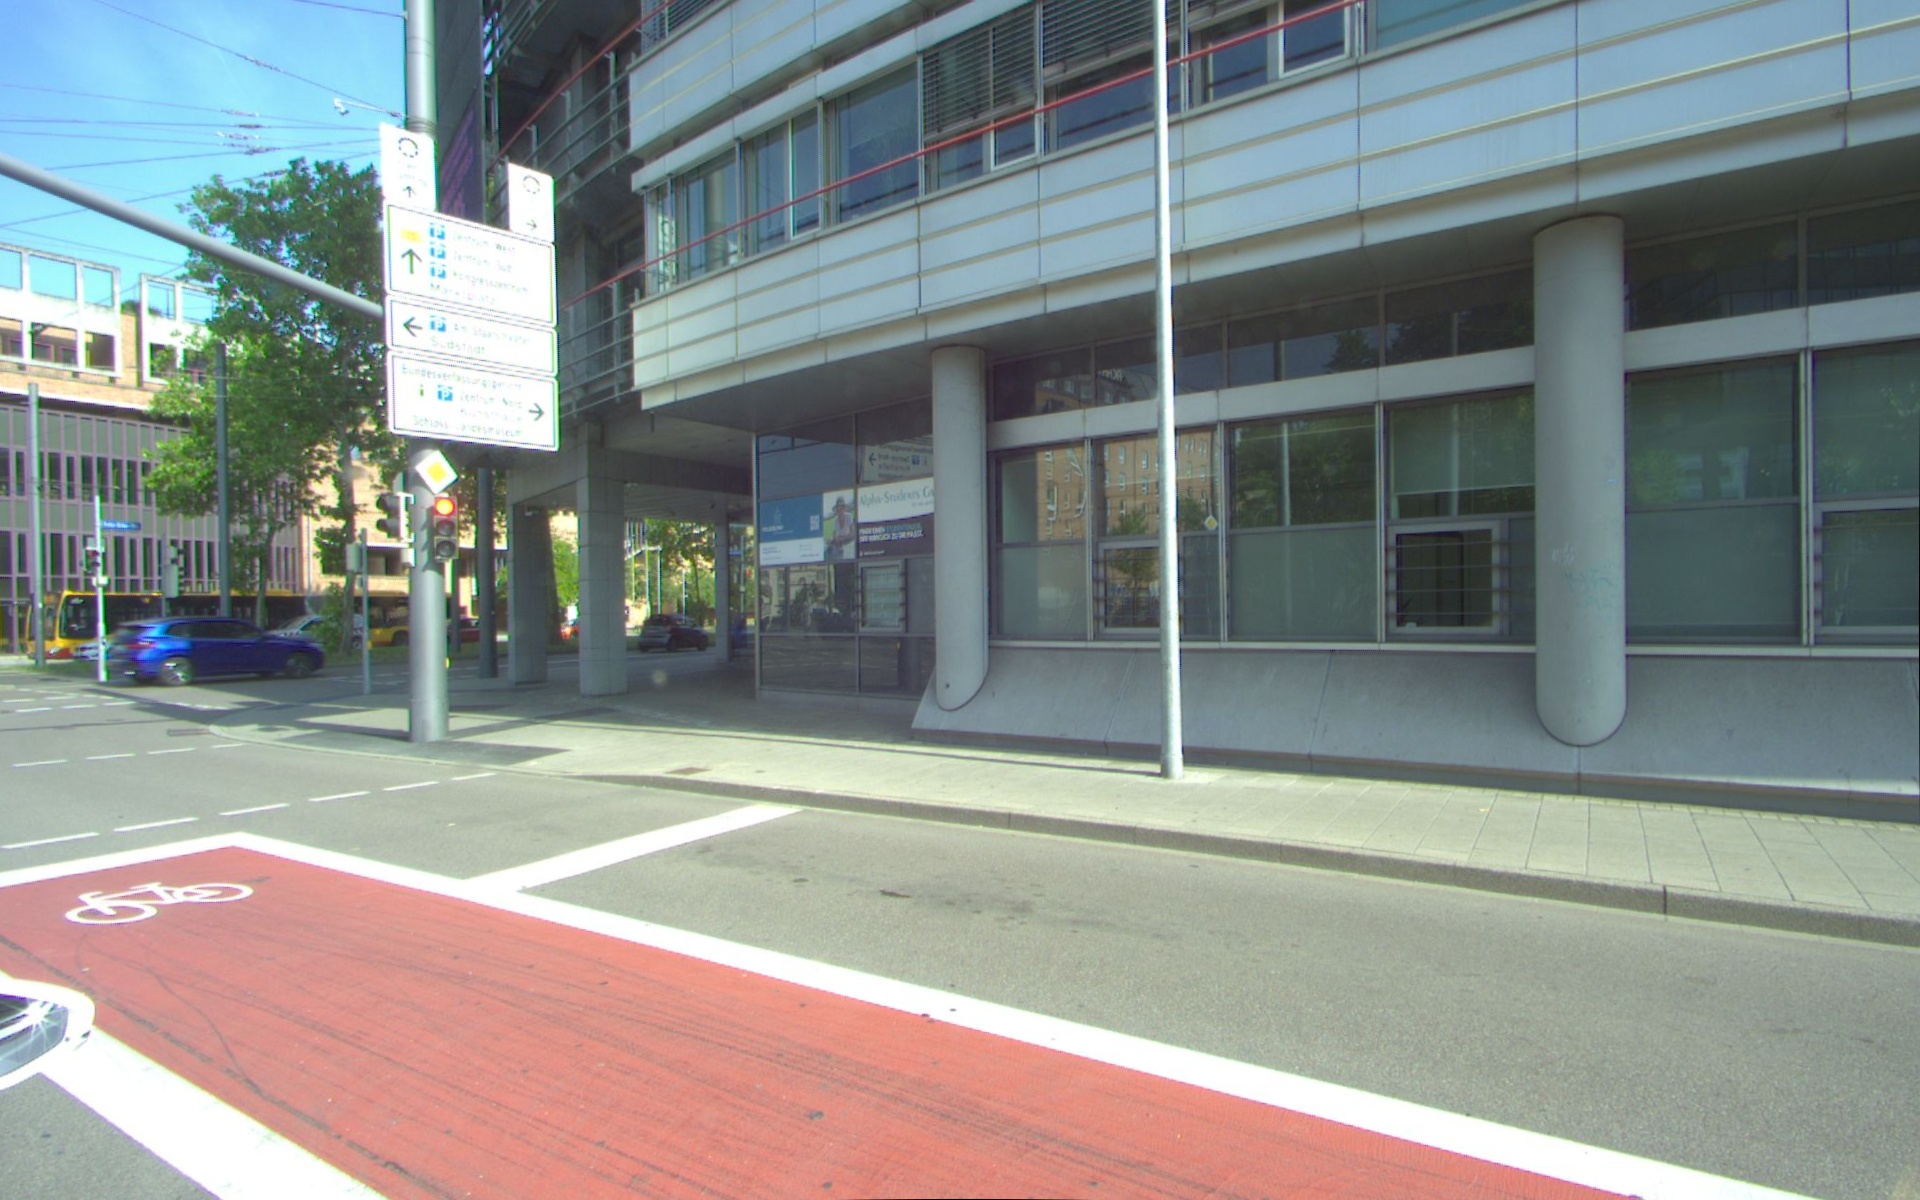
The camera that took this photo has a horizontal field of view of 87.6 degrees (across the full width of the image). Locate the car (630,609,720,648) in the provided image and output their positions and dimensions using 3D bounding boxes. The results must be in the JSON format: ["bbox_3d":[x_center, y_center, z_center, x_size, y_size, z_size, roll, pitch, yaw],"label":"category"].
[{"bbox_3d":[-11.602,1.169,40.997,1.674,1.511,3.594,-2,-1,22],"label":"car"}]

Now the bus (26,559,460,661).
[{"bbox_3d":[-32.254,0.520,47.306,2.818,3.859,17.616,-2,-2,24],"label":"bus"}]

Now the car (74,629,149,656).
[{"bbox_3d":[-32.517,1.616,38.396,1.078,0.970,1.947,-1,-1,32],"label":"car"}]

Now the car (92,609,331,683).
[{"bbox_3d":[-18.641,1.102,25.184,1.961,1.656,4.399,-2,-1,26],"label":"car"}]
